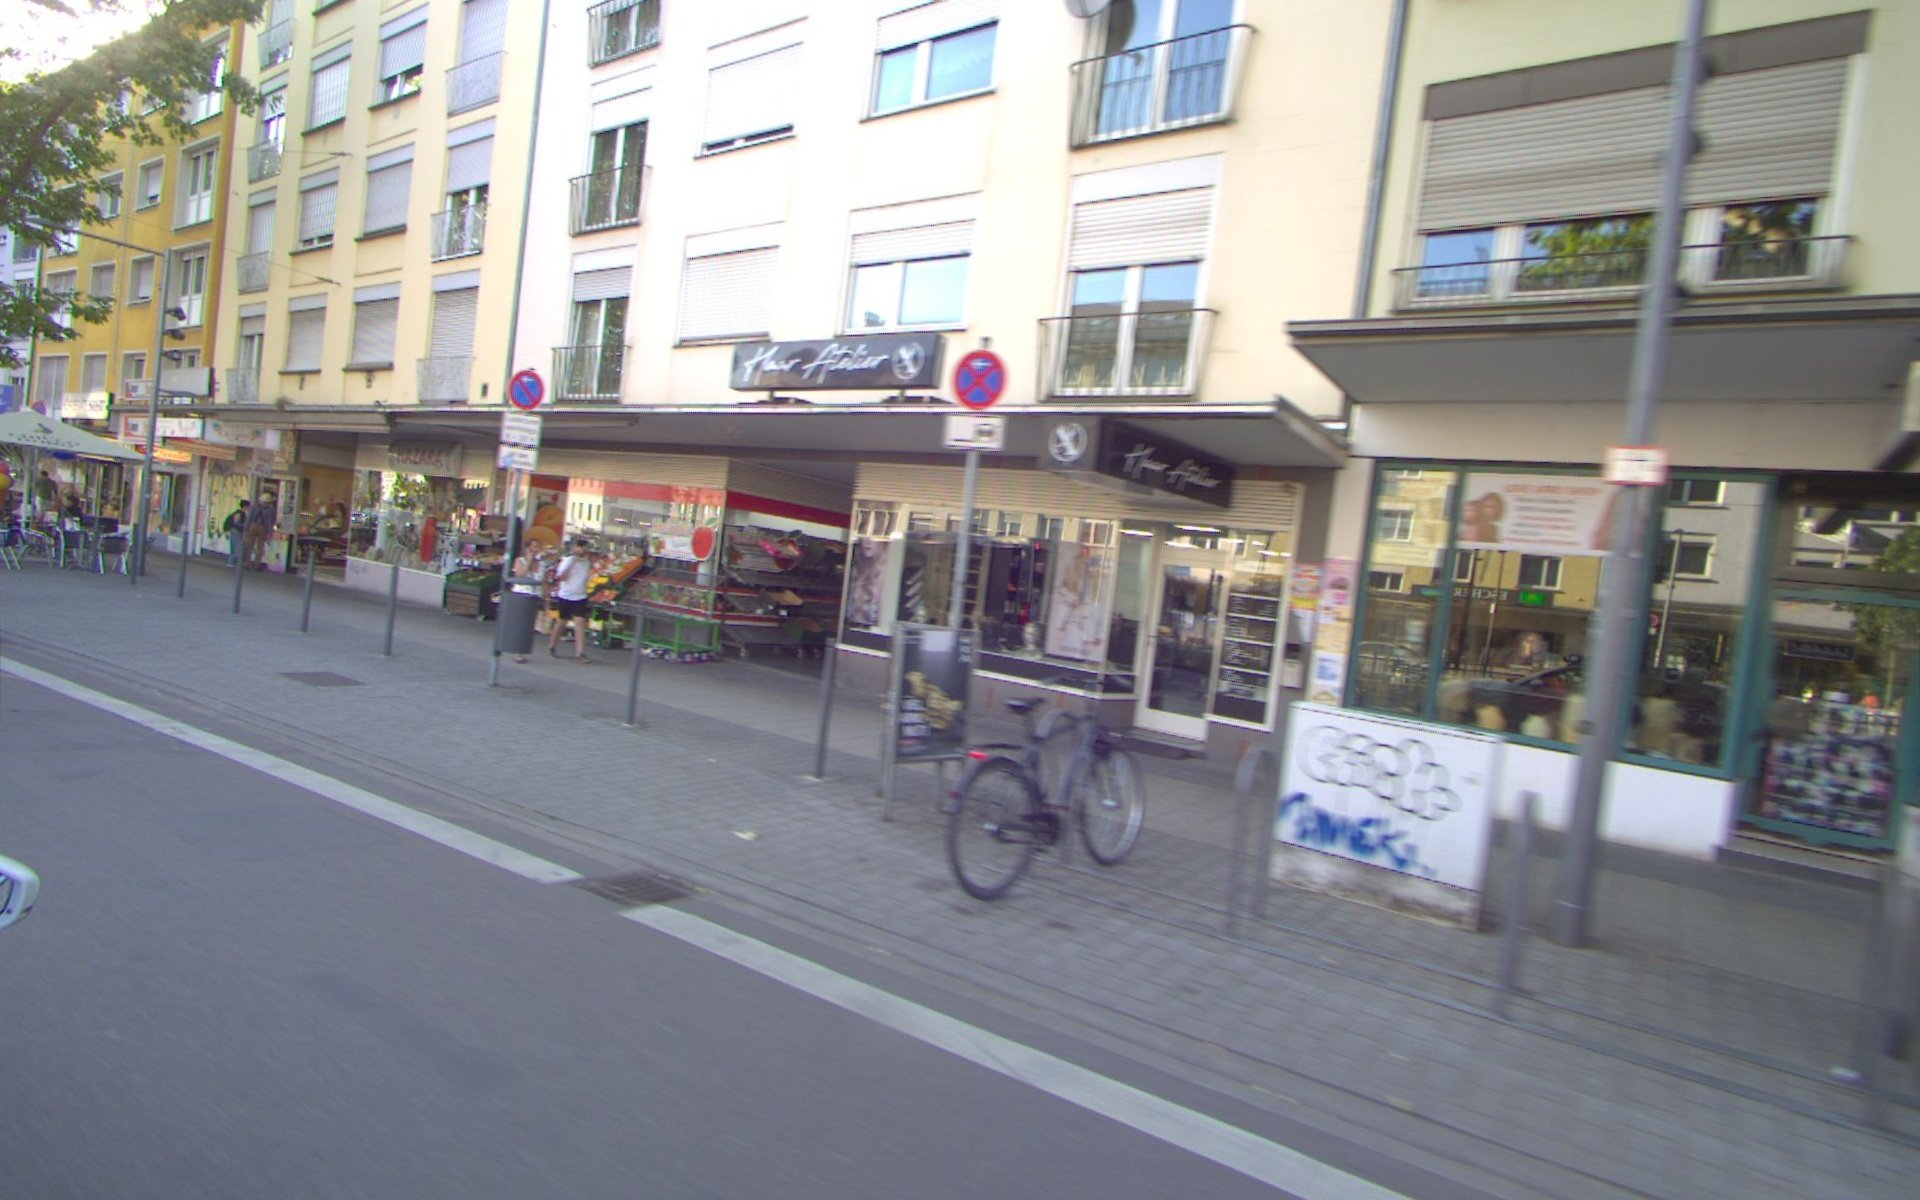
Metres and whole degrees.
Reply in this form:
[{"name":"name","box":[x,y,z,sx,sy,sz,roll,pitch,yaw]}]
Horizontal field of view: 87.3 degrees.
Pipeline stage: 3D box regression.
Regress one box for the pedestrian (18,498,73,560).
[{"name":"pedestrian","box":[-20.014,-1.552,22.024,0.732,1.240,0.606,7,1,29]}]

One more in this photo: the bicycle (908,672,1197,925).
[{"name":"bicycle","box":[0.594,1.011,5.667,0.511,1.120,1.902,8,3,41]}]

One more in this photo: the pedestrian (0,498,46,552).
[{"name":"pedestrian","box":[-21.883,-1.745,23.414,0.738,1.128,0.584,7,-1,29]}]

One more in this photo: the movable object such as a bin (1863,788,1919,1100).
[{"name":"movable object such as a bin","box":[4.082,1.376,3.914,0.633,1.087,0.722,7,3,33]}]

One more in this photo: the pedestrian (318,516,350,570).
[{"name":"pedestrian","box":[-16.113,-1.462,25.882,0.499,1.313,0.426,7,2,32]}]

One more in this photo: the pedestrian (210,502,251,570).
[{"name":"pedestrian","box":[-17.653,-1.547,24.358,0.620,1.566,0.632,5,1,-31]}]

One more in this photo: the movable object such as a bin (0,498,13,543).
[{"name":"movable object such as a bin","box":[-23.066,-1.935,23.526,0.824,1.035,0.930,7,-1,6]}]

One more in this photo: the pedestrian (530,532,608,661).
[{"name":"pedestrian","box":[-5.132,-0.042,13.202,0.616,1.608,0.621,7,4,34]}]

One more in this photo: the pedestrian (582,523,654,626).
[{"name":"pedestrian","box":[-6.324,-0.467,18.614,0.866,1.764,0.685,7,0,32]}]

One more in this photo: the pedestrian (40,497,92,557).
[{"name":"pedestrian","box":[-20.960,-1.714,23.592,0.746,1.290,0.584,7,0,29]}]

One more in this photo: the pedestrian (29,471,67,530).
[{"name":"pedestrian","box":[-29.293,-3.193,32.310,0.775,1.816,0.706,7,5,34]}]

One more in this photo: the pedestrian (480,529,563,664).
[{"name":"pedestrian","box":[-5.466,-0.044,12.556,0.616,1.608,0.635,7,4,34]}]

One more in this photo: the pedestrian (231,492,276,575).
[{"name":"pedestrian","box":[-16.460,-1.543,23.444,0.629,1.827,0.622,6,1,-26]}]
